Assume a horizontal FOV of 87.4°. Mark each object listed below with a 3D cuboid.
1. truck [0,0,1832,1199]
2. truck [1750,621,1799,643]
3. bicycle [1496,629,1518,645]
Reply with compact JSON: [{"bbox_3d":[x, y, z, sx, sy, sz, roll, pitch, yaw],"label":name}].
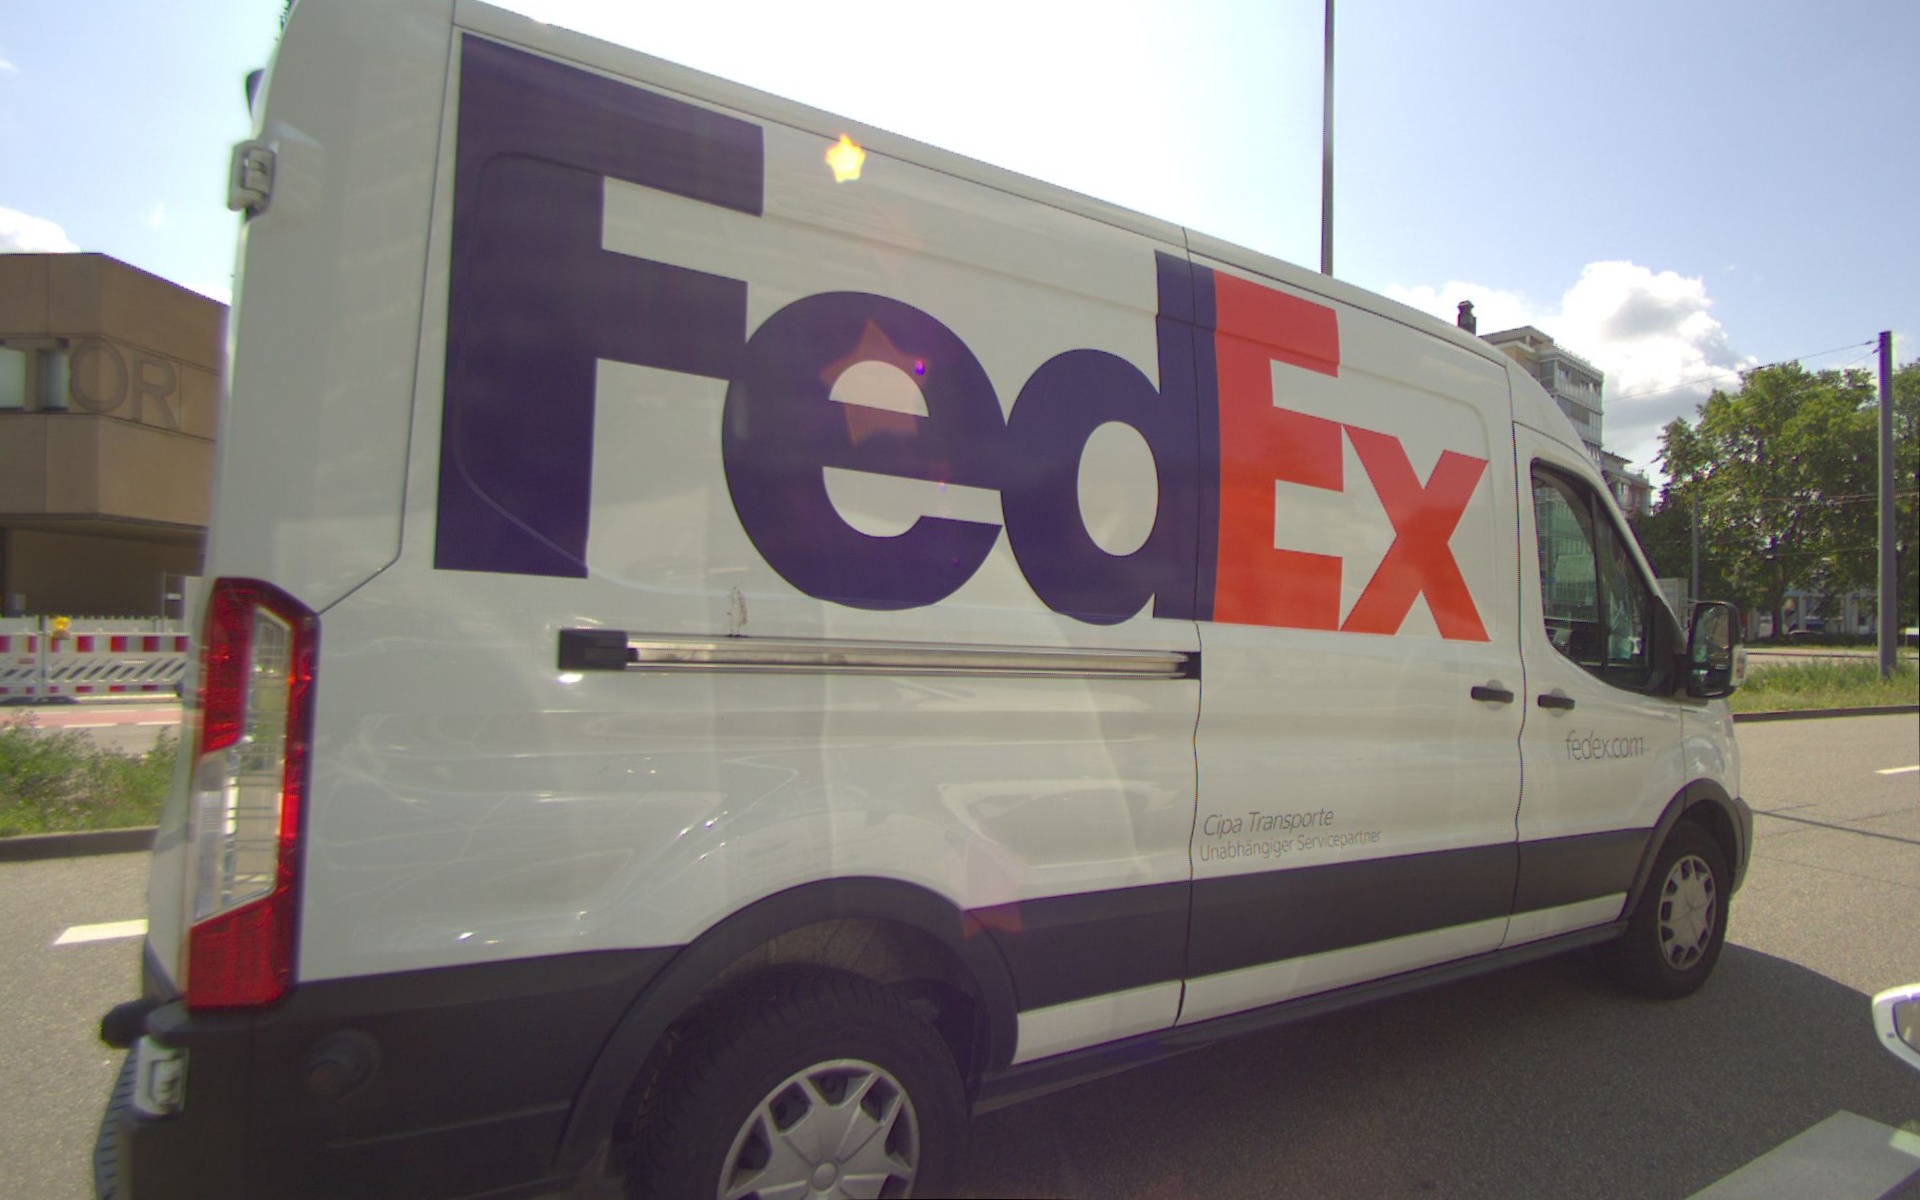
[{"bbox_3d":[0.723,0.139,3.643,5.853,2.675,2.125,2,-1,-33],"label":"truck"},{"bbox_3d":[82.552,3.227,101.794,4.708,2.148,1.801,1,-1,-21],"label":"truck"},{"bbox_3d":[41.988,2.818,77.101,0.501,1.162,2.135,2,-1,2],"label":"bicycle"}]
